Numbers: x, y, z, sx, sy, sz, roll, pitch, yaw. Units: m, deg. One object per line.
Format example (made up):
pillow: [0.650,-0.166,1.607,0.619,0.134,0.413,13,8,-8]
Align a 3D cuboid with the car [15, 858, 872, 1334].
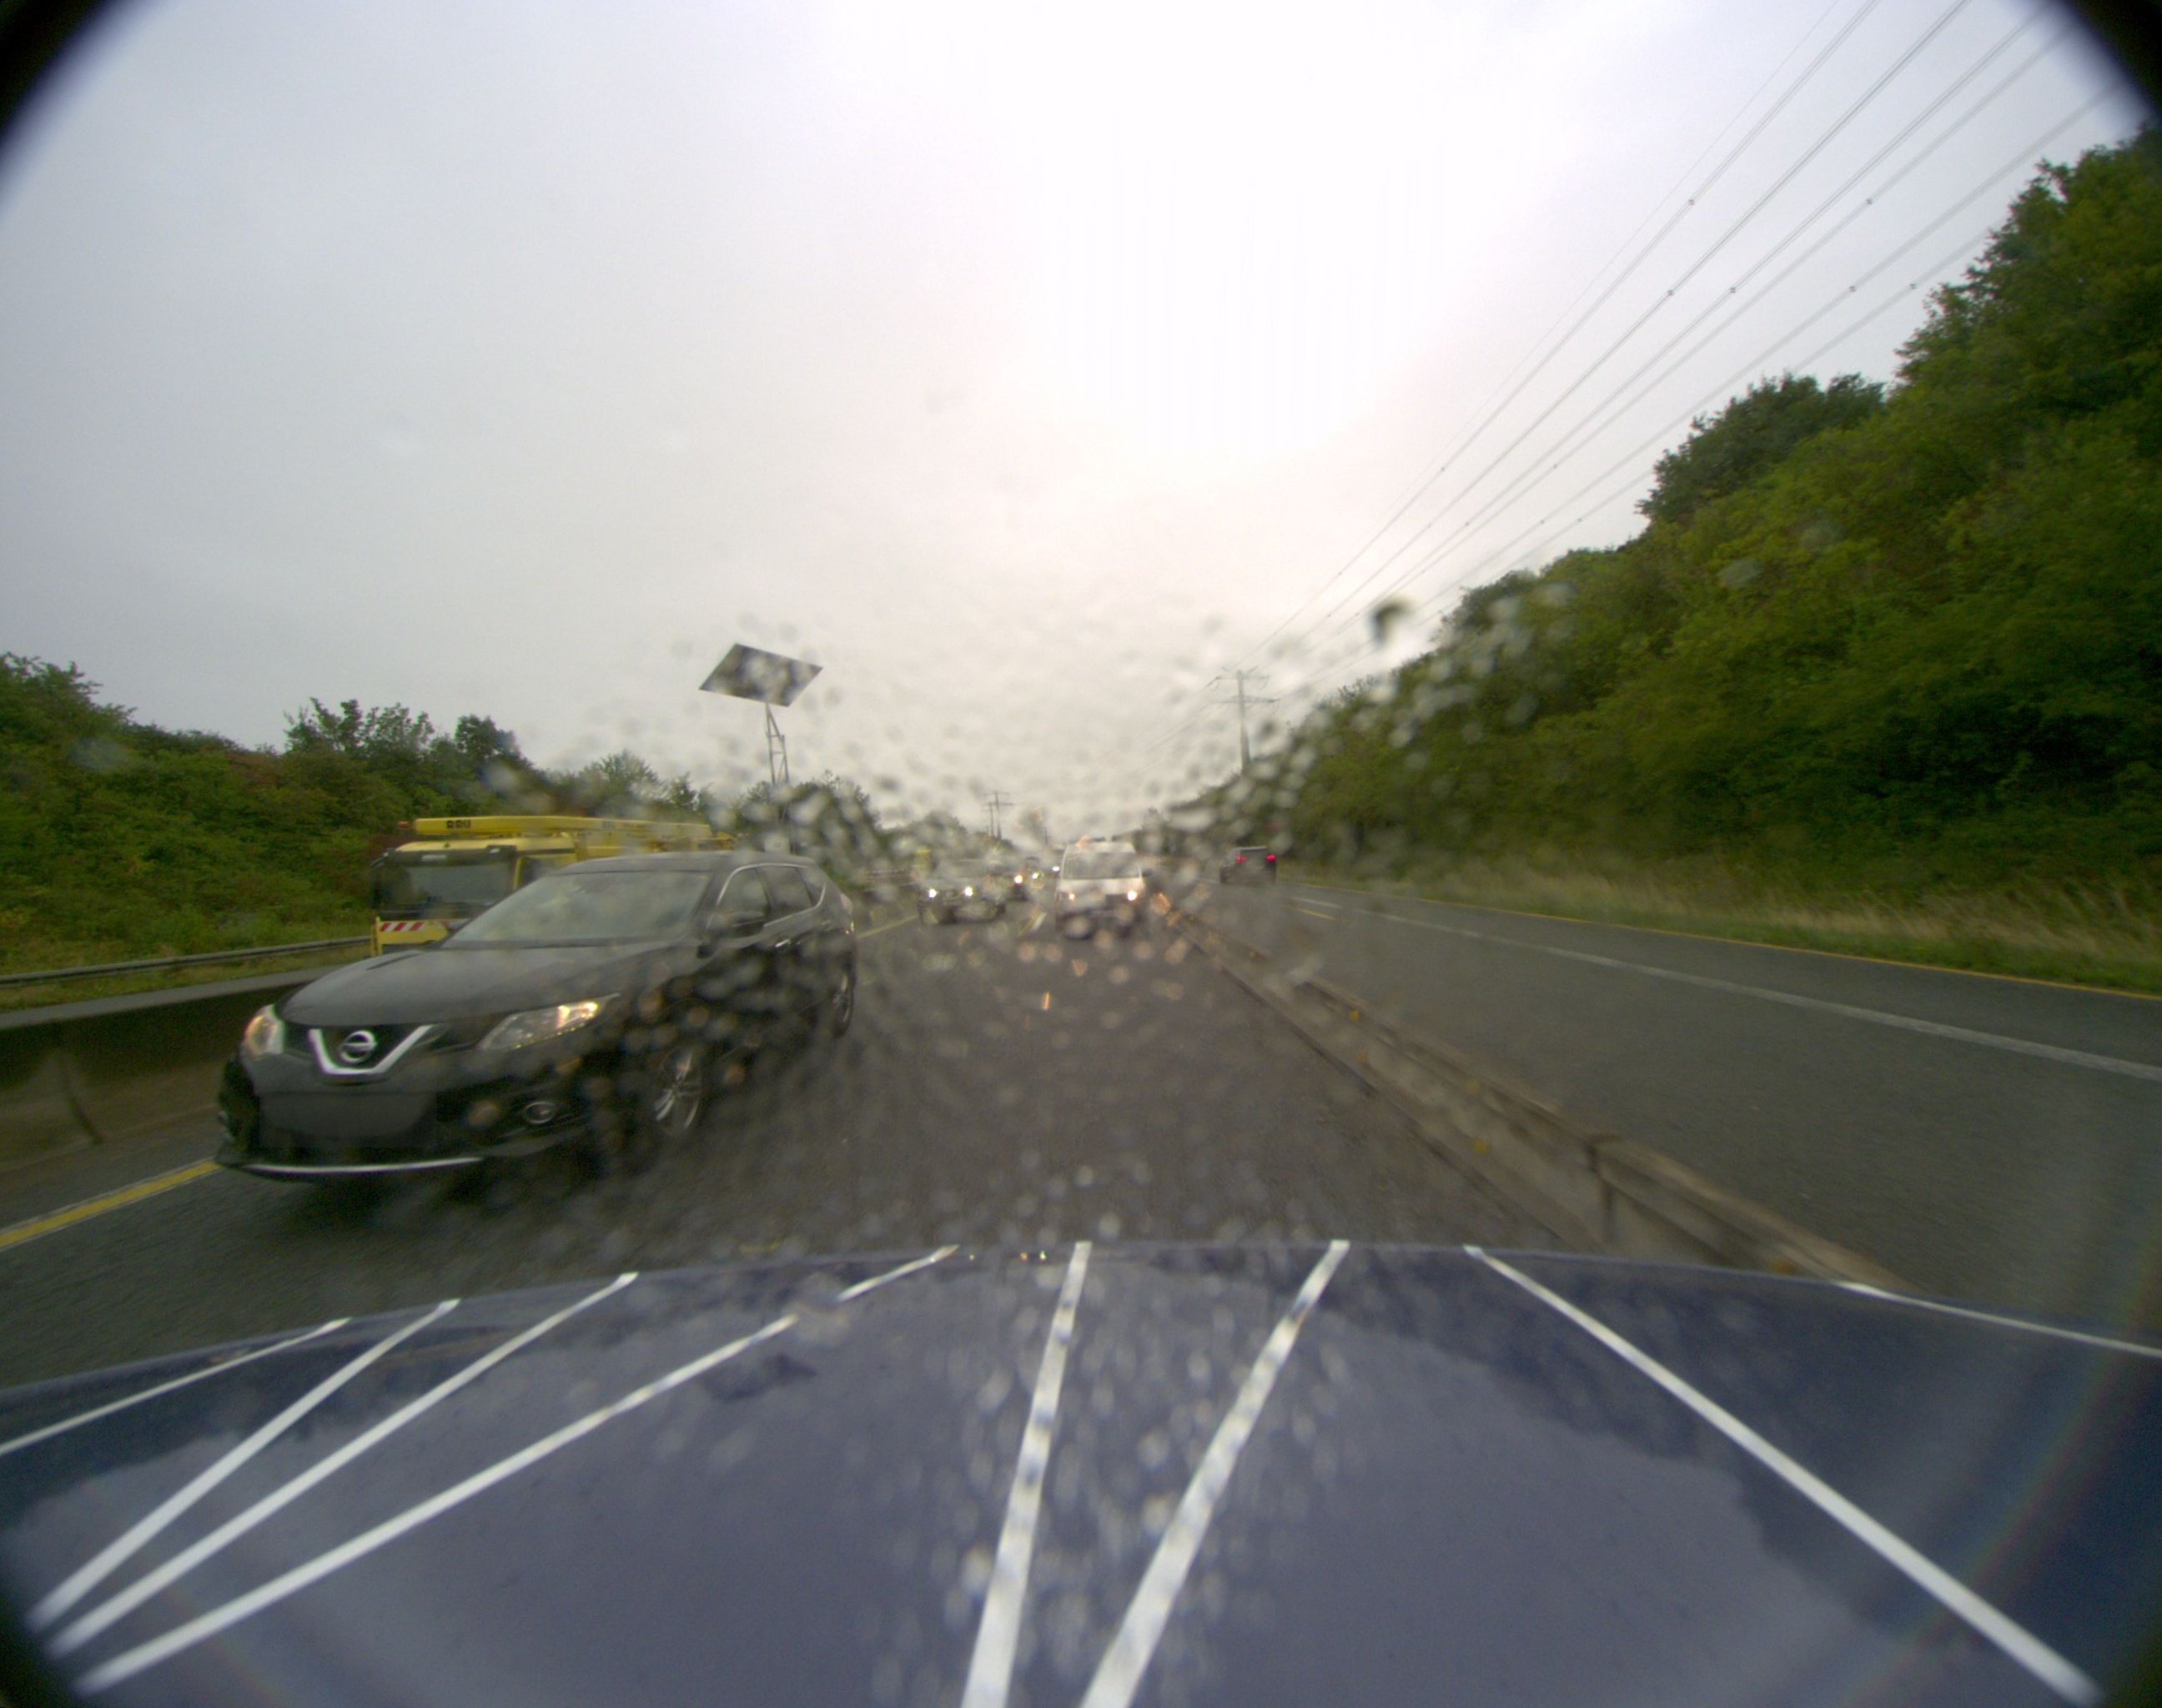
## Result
car: [-3.035,0.929,5.198,1.894,1.665,4.640,-2,1,0]

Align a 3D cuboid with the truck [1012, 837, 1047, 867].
truck: [-6.556,-0.253,95.868,2.622,3.404,9.563,-2,1,-14]

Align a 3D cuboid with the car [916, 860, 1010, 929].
car: [-2.959,0.959,19.875,1.784,1.482,4.123,-2,1,0]

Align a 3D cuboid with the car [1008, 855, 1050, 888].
car: [-2.548,0.838,38.109,1.784,1.482,4.123,-2,1,0]

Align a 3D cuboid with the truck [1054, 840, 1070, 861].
truck: [-3.578,-0.729,145.204,2.619,3.869,9.574,-2,1,0]

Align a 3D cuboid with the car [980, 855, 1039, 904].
car: [-2.592,0.902,28.465,1.784,1.589,4.123,-2,1,0]

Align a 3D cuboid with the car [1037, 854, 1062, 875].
car: [-2.488,0.800,60.945,1.784,1.482,4.123,-2,1,0]

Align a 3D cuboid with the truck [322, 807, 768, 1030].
truck: [-10.353,0.961,16.676,2.619,3.404,9.575,-2,1,2]

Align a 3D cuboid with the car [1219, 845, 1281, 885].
car: [7.414,0.433,33.686,1.875,1.593,3.999,-2,1,1]

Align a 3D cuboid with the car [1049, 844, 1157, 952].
car: [0.357,0.721,15.269,1.784,1.775,4.697,-2,1,0]

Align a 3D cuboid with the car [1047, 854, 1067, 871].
car: [-2.347,0.789,74.980,1.784,1.482,4.123,-2,1,0]
